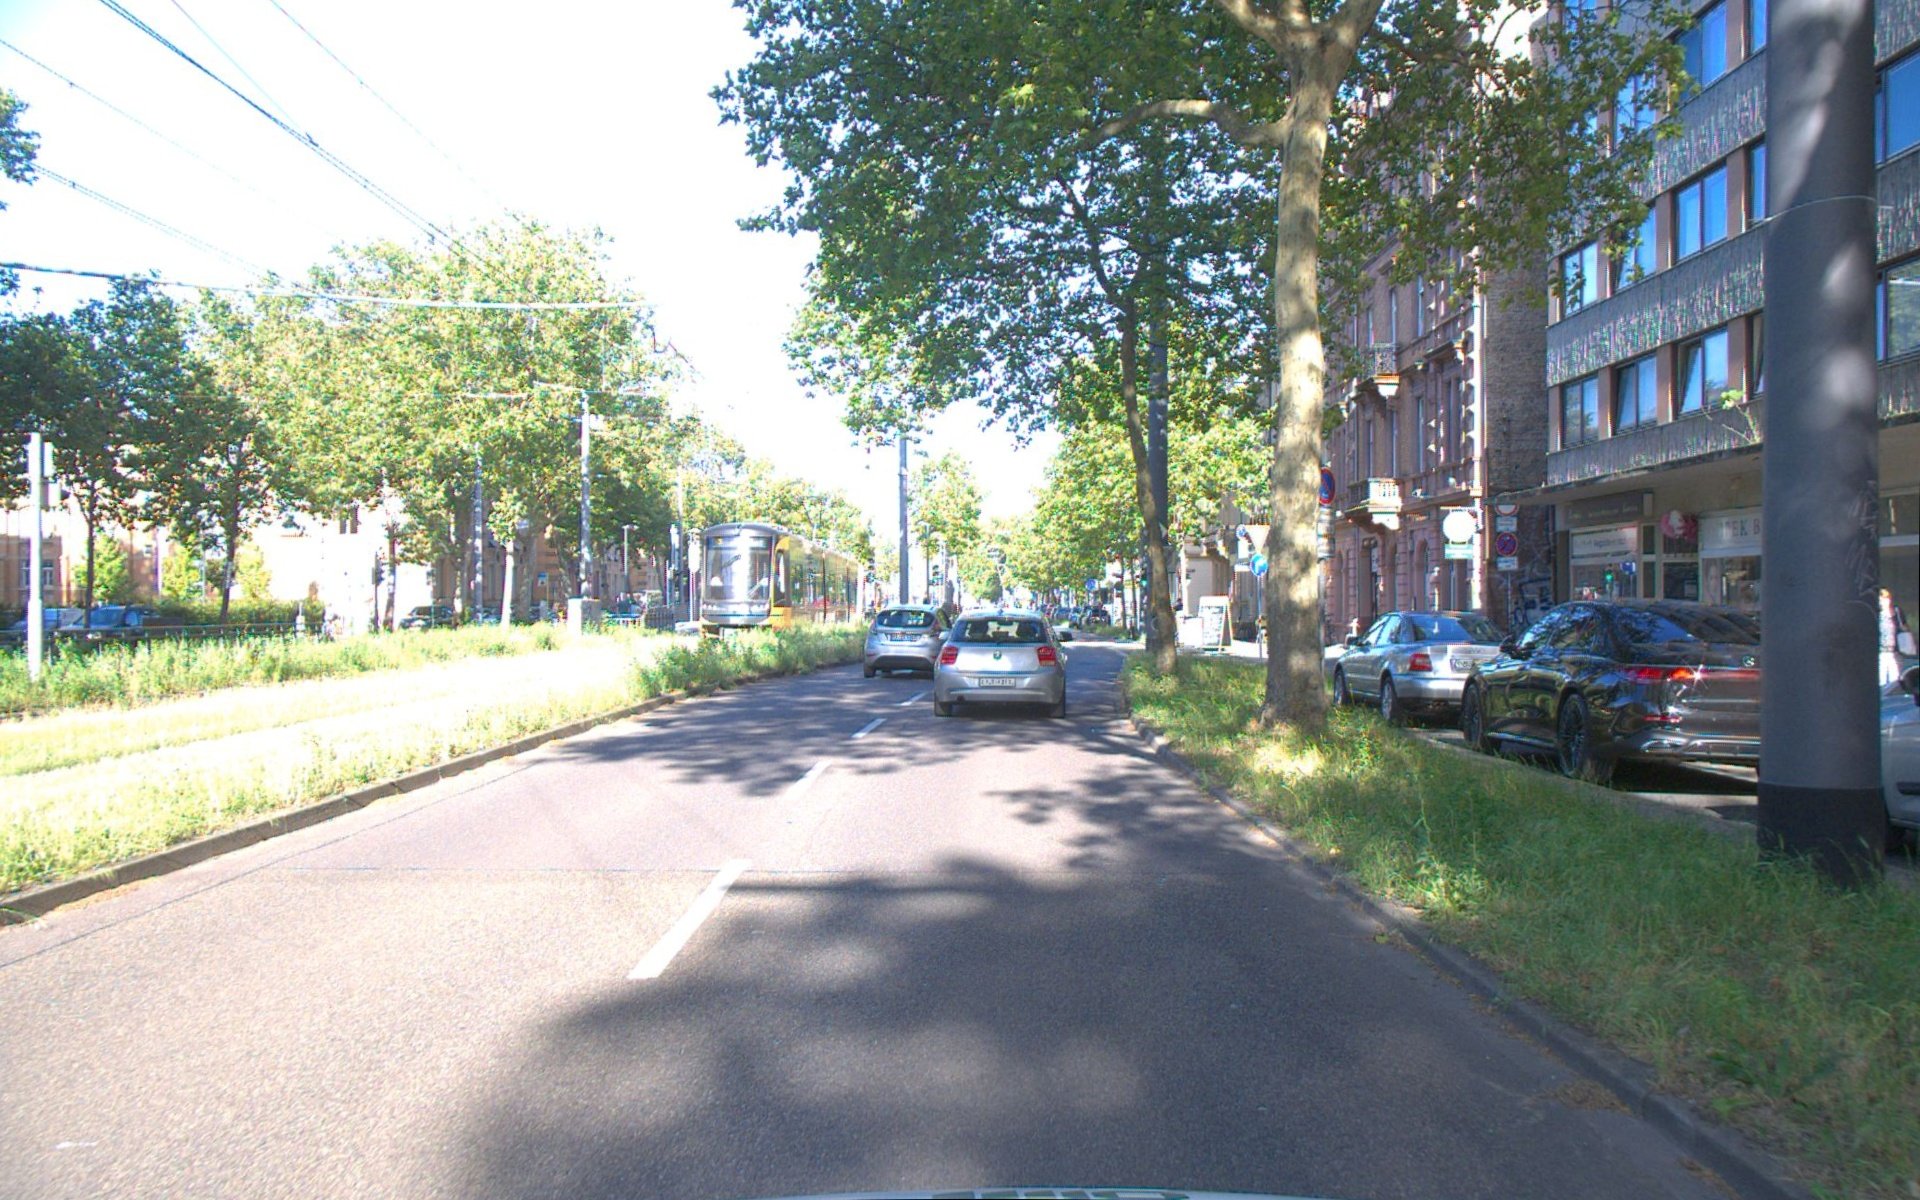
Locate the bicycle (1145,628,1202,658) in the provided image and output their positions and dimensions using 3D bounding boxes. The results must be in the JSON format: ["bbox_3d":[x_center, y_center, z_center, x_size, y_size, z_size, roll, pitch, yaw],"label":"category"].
[{"bbox_3d":[7.658,1.554,59.403,1.973,1.010,0.444,2,0,-2],"label":"bicycle"}]

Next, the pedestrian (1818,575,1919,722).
[{"bbox_3d":[11.449,0.594,20.734,0.979,1.791,0.715,2,0,1],"label":"pedestrian"}]

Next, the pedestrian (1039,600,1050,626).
[{"bbox_3d":[6.922,1.078,135.035,0.820,2.049,0.649,2,0,7],"label":"pedestrian"}]

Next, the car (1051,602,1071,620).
[{"bbox_3d":[9.547,1.072,156.144,1.635,1.578,4.001,2,1,1],"label":"car"}]

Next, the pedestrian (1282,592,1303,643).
[{"bbox_3d":[12.291,0.654,61.107,0.459,1.842,0.772,2,0,32],"label":"pedestrian"}]

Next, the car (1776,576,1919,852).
[{"bbox_3d":[6.030,0.639,8.174,1.643,1.492,4.669,2,0,0],"label":"car"}]

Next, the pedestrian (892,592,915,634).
[{"bbox_3d":[-2.689,0.616,78.801,1.050,1.949,1.126,0,0,-1],"label":"pedestrian"}]

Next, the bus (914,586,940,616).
[{"bbox_3d":[-4.161,0.085,212.798,2.693,3.689,18.849,0,0,1],"label":"bus"}]

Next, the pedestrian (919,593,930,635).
[{"bbox_3d":[-1.641,0.624,76.544,0.442,1.936,0.584,0,0,-7],"label":"pedestrian"}]

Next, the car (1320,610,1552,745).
[{"bbox_3d":[6.034,0.917,21.517,1.666,1.449,4.516,2,1,0],"label":"car"}]

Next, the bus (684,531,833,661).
[{"bbox_3d":[-5.936,-0.119,51.221,2.810,3.504,13.218,0,0,1],"label":"bus"}]

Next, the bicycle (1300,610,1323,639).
[{"bbox_3d":[12.975,0.903,61.077,0.434,1.010,1.688,2,1,0],"label":"bicycle"}]

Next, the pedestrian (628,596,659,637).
[{"bbox_3d":[-13.156,0.684,68.778,1.154,1.672,0.891,0,-1,-7],"label":"pedestrian"}]

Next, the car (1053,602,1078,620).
[{"bbox_3d":[9.600,0.986,150.573,1.952,1.535,4.598,2,-1,1],"label":"car"}]

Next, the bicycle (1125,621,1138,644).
[{"bbox_3d":[7.939,1.509,76.742,0.419,0.987,1.750,2,1,1],"label":"bicycle"}]

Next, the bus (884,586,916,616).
[{"bbox_3d":[-7.718,0.011,215.643,2.810,3.692,24.606,0,0,1],"label":"bus"}]

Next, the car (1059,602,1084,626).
[{"bbox_3d":[8.381,1.030,124.171,1.657,1.687,4.039,0,1,0],"label":"car"}]

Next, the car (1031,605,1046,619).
[{"bbox_3d":[9.396,1.436,198.092,1.665,1.561,3.717,2,1,1],"label":"car"}]

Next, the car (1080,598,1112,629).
[{"bbox_3d":[8.957,0.858,109.050,1.718,1.999,4.737,0,0,0],"label":"car"}]

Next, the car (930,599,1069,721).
[{"bbox_3d":[0.501,0.763,23.038,1.726,1.457,4.000,2,1,0],"label":"car"}]

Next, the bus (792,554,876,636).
[{"bbox_3d":[-5.627,-0.212,75.948,2.810,3.504,11.612,0,0,1],"label":"bus"}]

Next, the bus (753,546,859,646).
[{"bbox_3d":[-5.762,-0.133,64.027,2.810,3.504,12.215,0,0,1],"label":"bus"}]

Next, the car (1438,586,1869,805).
[{"bbox_3d":[5.689,0.692,14.338,1.768,1.516,4.920,2,0,2],"label":"car"}]

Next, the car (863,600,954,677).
[{"bbox_3d":[-0.998,0.747,33.616,1.613,1.386,3.760,2,1,1],"label":"car"}]

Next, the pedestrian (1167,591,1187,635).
[{"bbox_3d":[10.432,0.624,79.595,0.863,2.049,0.857,2,0,4],"label":"pedestrian"}]

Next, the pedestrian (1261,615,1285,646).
[{"bbox_3d":[12.447,1.207,65.734,0.761,1.181,0.466,2,0,-25],"label":"pedestrian"}]

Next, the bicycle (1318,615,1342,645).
[{"bbox_3d":[13.010,1.049,58.124,0.434,1.010,1.688,2,1,0],"label":"bicycle"}]

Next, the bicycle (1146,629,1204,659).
[{"bbox_3d":[7.648,1.557,58.798,1.963,1.010,0.444,2,0,-2],"label":"bicycle"}]

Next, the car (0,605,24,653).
[{"bbox_3d":[-25.234,0.719,41.000,1.755,1.199,4.000,2,0,0],"label":"car"}]
